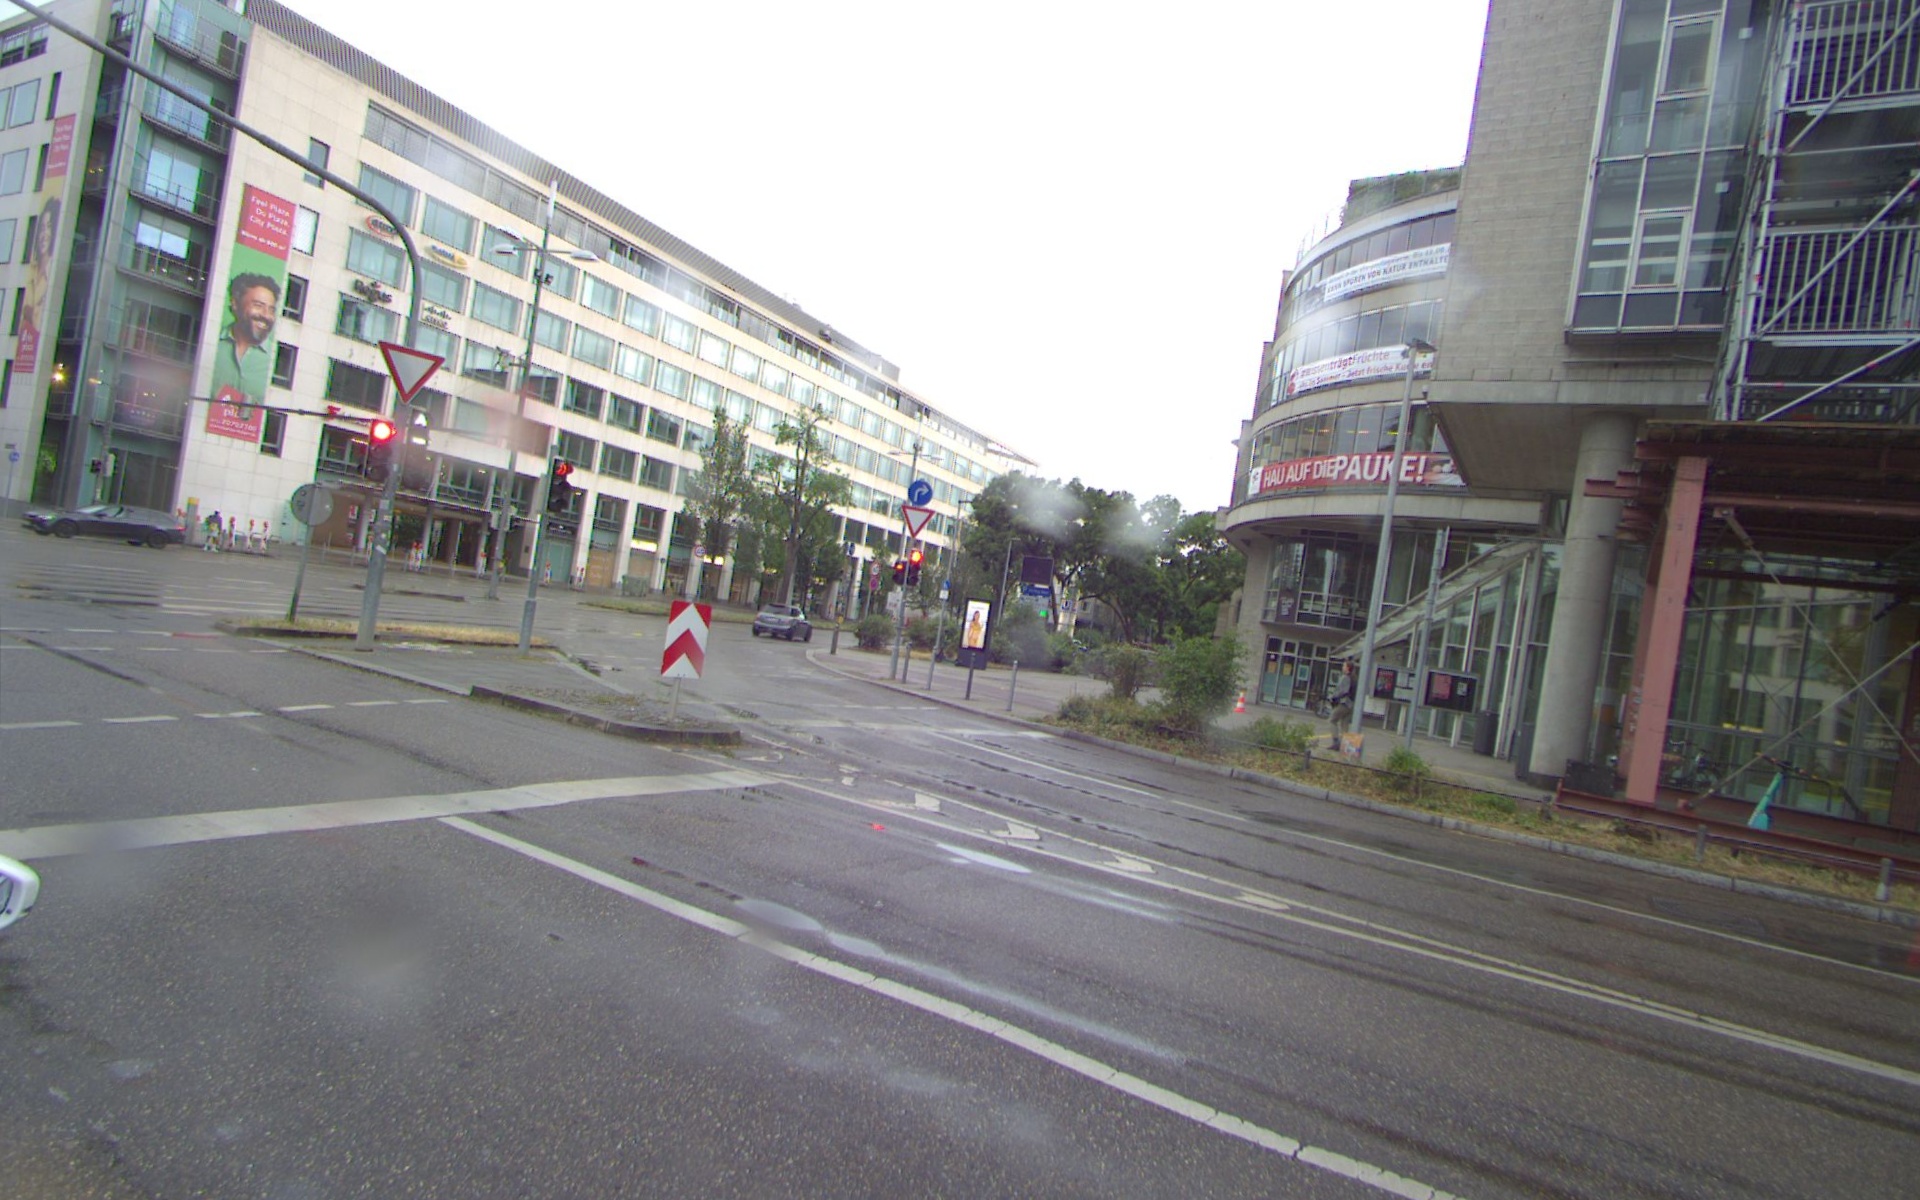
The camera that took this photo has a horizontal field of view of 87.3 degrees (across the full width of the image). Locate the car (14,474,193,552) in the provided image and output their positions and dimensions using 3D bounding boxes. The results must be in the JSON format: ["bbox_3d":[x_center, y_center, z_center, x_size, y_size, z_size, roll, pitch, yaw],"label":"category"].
[{"bbox_3d":[-31.640,-3.162,37.325,1.522,2.036,4.665,6,-2,28],"label":"car"}]

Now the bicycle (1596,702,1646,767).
[{"bbox_3d":[13.716,2.775,20.911,0.576,1.208,1.614,7,-2,27],"label":"bicycle"}]

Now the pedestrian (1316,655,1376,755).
[{"bbox_3d":[7.457,2.013,19.458,0.776,1.796,0.781,7,-1,13],"label":"pedestrian"}]

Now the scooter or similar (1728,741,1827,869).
[{"bbox_3d":[9.231,2.269,11.414,0.577,1.208,1.780,7,-1,34],"label":"scooter or similar"}]

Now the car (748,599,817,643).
[{"bbox_3d":[-7.241,0.908,41.423,1.712,1.472,3.726,7,-2,6],"label":"car"}]

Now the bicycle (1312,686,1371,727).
[{"bbox_3d":[13.463,3.748,35.527,1.753,1.208,0.586,6,-1,29],"label":"bicycle"}]

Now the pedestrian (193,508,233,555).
[{"bbox_3d":[-32.102,-2.932,43.257,0.822,1.838,0.963,6,-1,31],"label":"pedestrian"}]

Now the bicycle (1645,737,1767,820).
[{"bbox_3d":[13.494,3.224,18.225,1.584,1.208,0.587,7,-1,6],"label":"bicycle"}]
